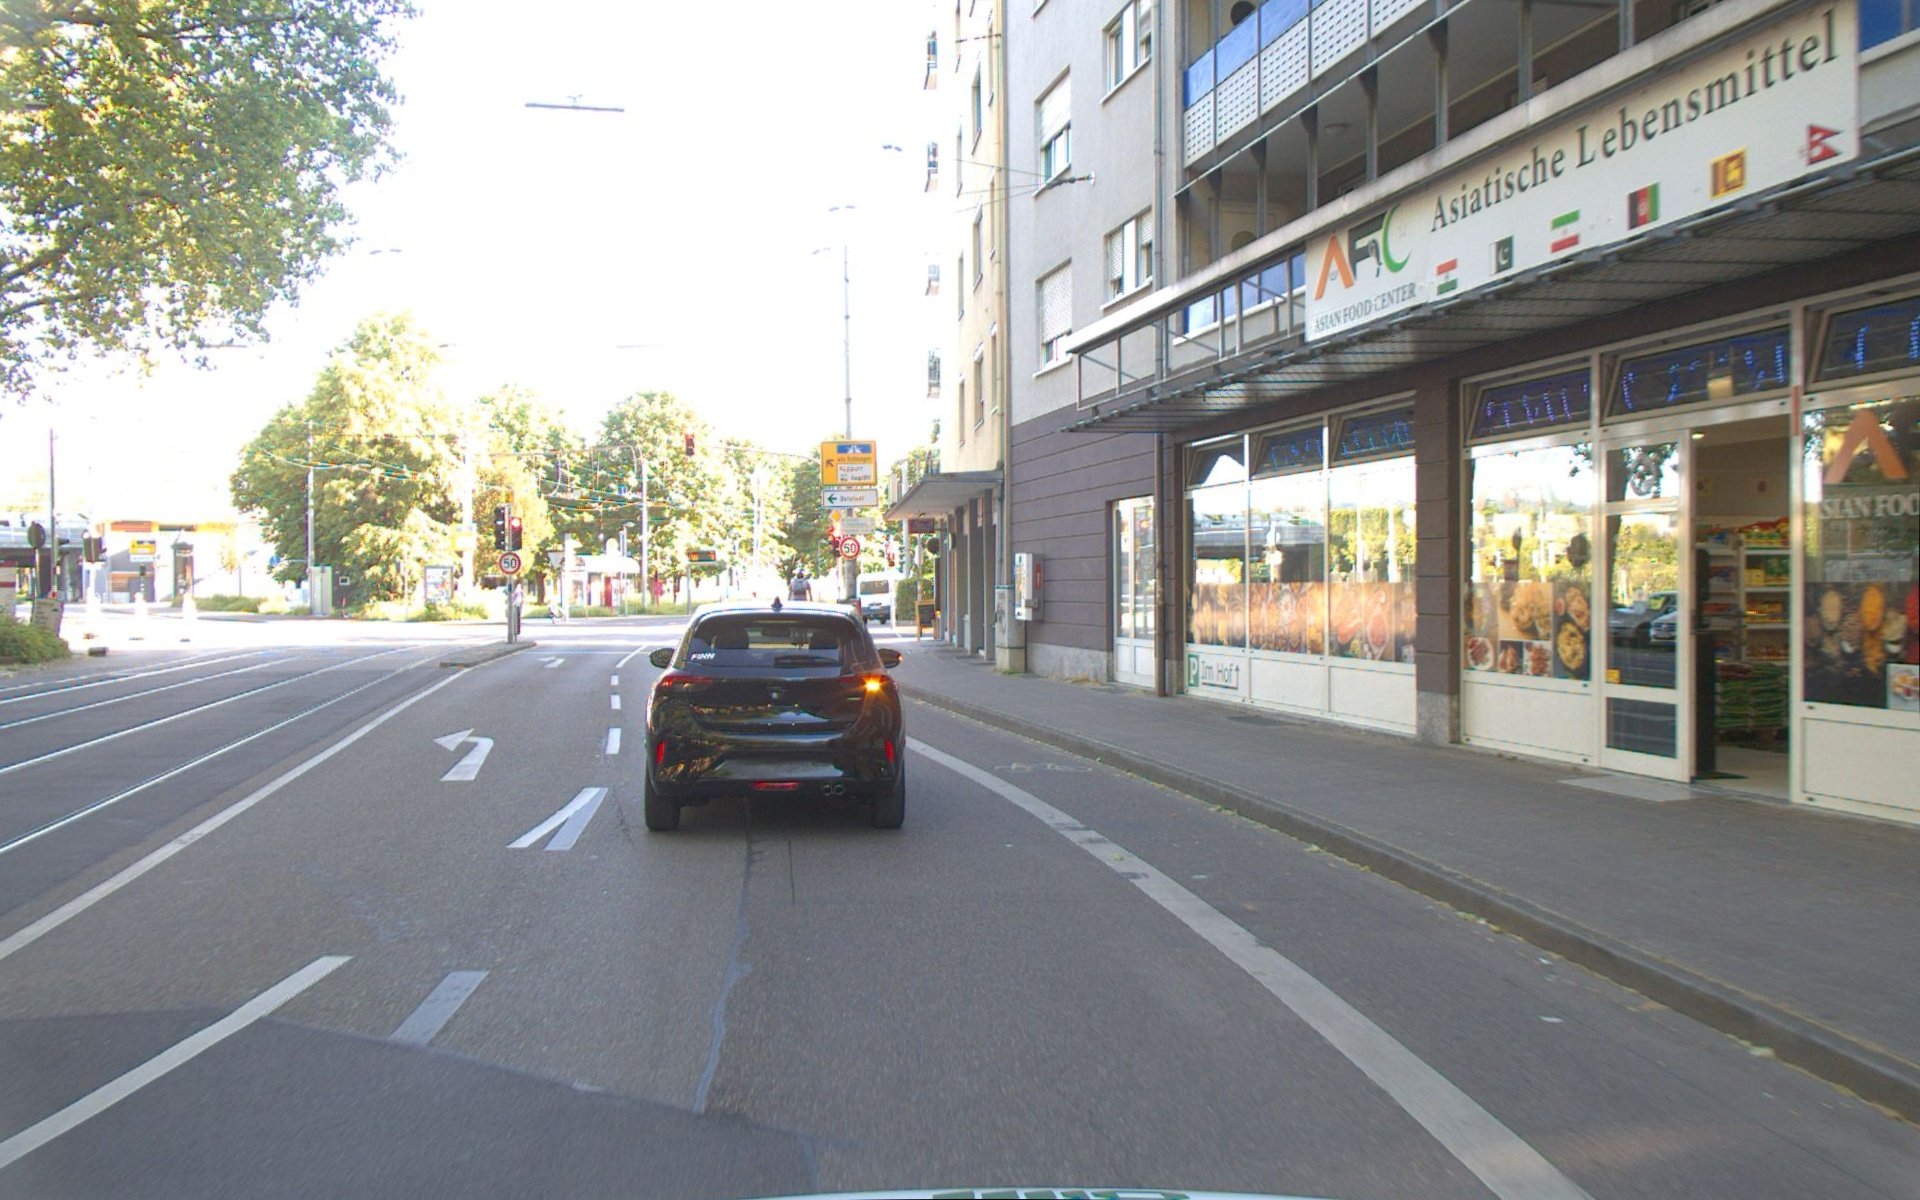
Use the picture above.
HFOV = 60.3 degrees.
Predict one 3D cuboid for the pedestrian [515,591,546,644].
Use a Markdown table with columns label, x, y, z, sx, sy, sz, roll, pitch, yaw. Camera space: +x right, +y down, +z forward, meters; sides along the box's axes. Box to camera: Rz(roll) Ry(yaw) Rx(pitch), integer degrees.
| label | x | y | z | sx | sy | sz | roll | pitch | yaw |
| --- | --- | --- | --- | --- | --- | --- | --- | --- | --- |
| pedestrian | -11.530 | 0.462 | 44.384 | 0.639 | 1.387 | 0.645 | -1 | 0 | -1 |

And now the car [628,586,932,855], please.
| label | x | y | z | sx | sy | sz | roll | pitch | yaw |
| --- | --- | --- | --- | --- | --- | --- | --- | --- | --- |
| car | -1.234 | 0.672 | 11.558 | 1.747 | 1.522 | 3.995 | 0 | 1 | -6 |

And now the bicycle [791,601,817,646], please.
| label | x | y | z | sx | sy | sz | roll | pitch | yaw |
| --- | --- | --- | --- | --- | --- | --- | --- | --- | --- |
| bicycle | -3.859 | 0.575 | 40.927 | 0.497 | 1.086 | 1.564 | -1 | 0 | -1 |

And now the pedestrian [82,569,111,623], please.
| label | x | y | z | sx | sy | sz | roll | pitch | yaw |
| --- | --- | --- | --- | --- | --- | --- | --- | --- | --- |
| pedestrian | -35.935 | -0.164 | 68.804 | 0.884 | 2.259 | 0.816 | 0 | 0 | 43 |

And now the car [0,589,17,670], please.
| label | x | y | z | sx | sy | sz | roll | pitch | yaw |
| --- | --- | --- | --- | --- | --- | --- | --- | --- | --- |
| car | -22.189 | 0.653 | 34.368 | 4.101 | 1.700 | 1.956 | -1 | 0 | -16 |

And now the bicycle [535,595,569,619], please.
| label | x | y | z | sx | sy | sz | roll | pitch | yaw |
| --- | --- | --- | --- | --- | --- | --- | --- | --- | --- |
| bicycle | -17.597 | 0.314 | 71.438 | 0.772 | 1.009 | 2.244 | 0 | 0 | 3 |

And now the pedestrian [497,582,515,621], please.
| label | x | y | z | sx | sy | sz | roll | pitch | yaw |
| --- | --- | --- | --- | --- | --- | --- | --- | --- | --- |
| pedestrian | -23.049 | 0.064 | 83.939 | 0.643 | 1.966 | 0.610 | 0 | 0 | 12 |

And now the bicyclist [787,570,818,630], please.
| label | x | y | z | sx | sy | sz | roll | pitch | yaw |
| --- | --- | --- | --- | --- | --- | --- | --- | --- | --- |
| bicyclist | -3.896 | 0.005 | 40.963 | 0.691 | 1.460 | 0.702 | -1 | 0 | -1 |

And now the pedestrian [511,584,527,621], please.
| label | x | y | z | sx | sy | sz | roll | pitch | yaw |
| --- | --- | --- | --- | --- | --- | --- | --- | --- | --- |
| pedestrian | -22.371 | 0.117 | 83.897 | 0.603 | 1.886 | 0.584 | 0 | 0 | 12 |

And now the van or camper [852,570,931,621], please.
| label | x | y | z | sx | sy | sz | roll | pitch | yaw |
| --- | --- | --- | --- | --- | --- | --- | --- | --- | --- |
| van or camper | -3.009 | -0.187 | 73.515 | 2.122 | 2.183 | 4.508 | 0 | 0 | 17 |
